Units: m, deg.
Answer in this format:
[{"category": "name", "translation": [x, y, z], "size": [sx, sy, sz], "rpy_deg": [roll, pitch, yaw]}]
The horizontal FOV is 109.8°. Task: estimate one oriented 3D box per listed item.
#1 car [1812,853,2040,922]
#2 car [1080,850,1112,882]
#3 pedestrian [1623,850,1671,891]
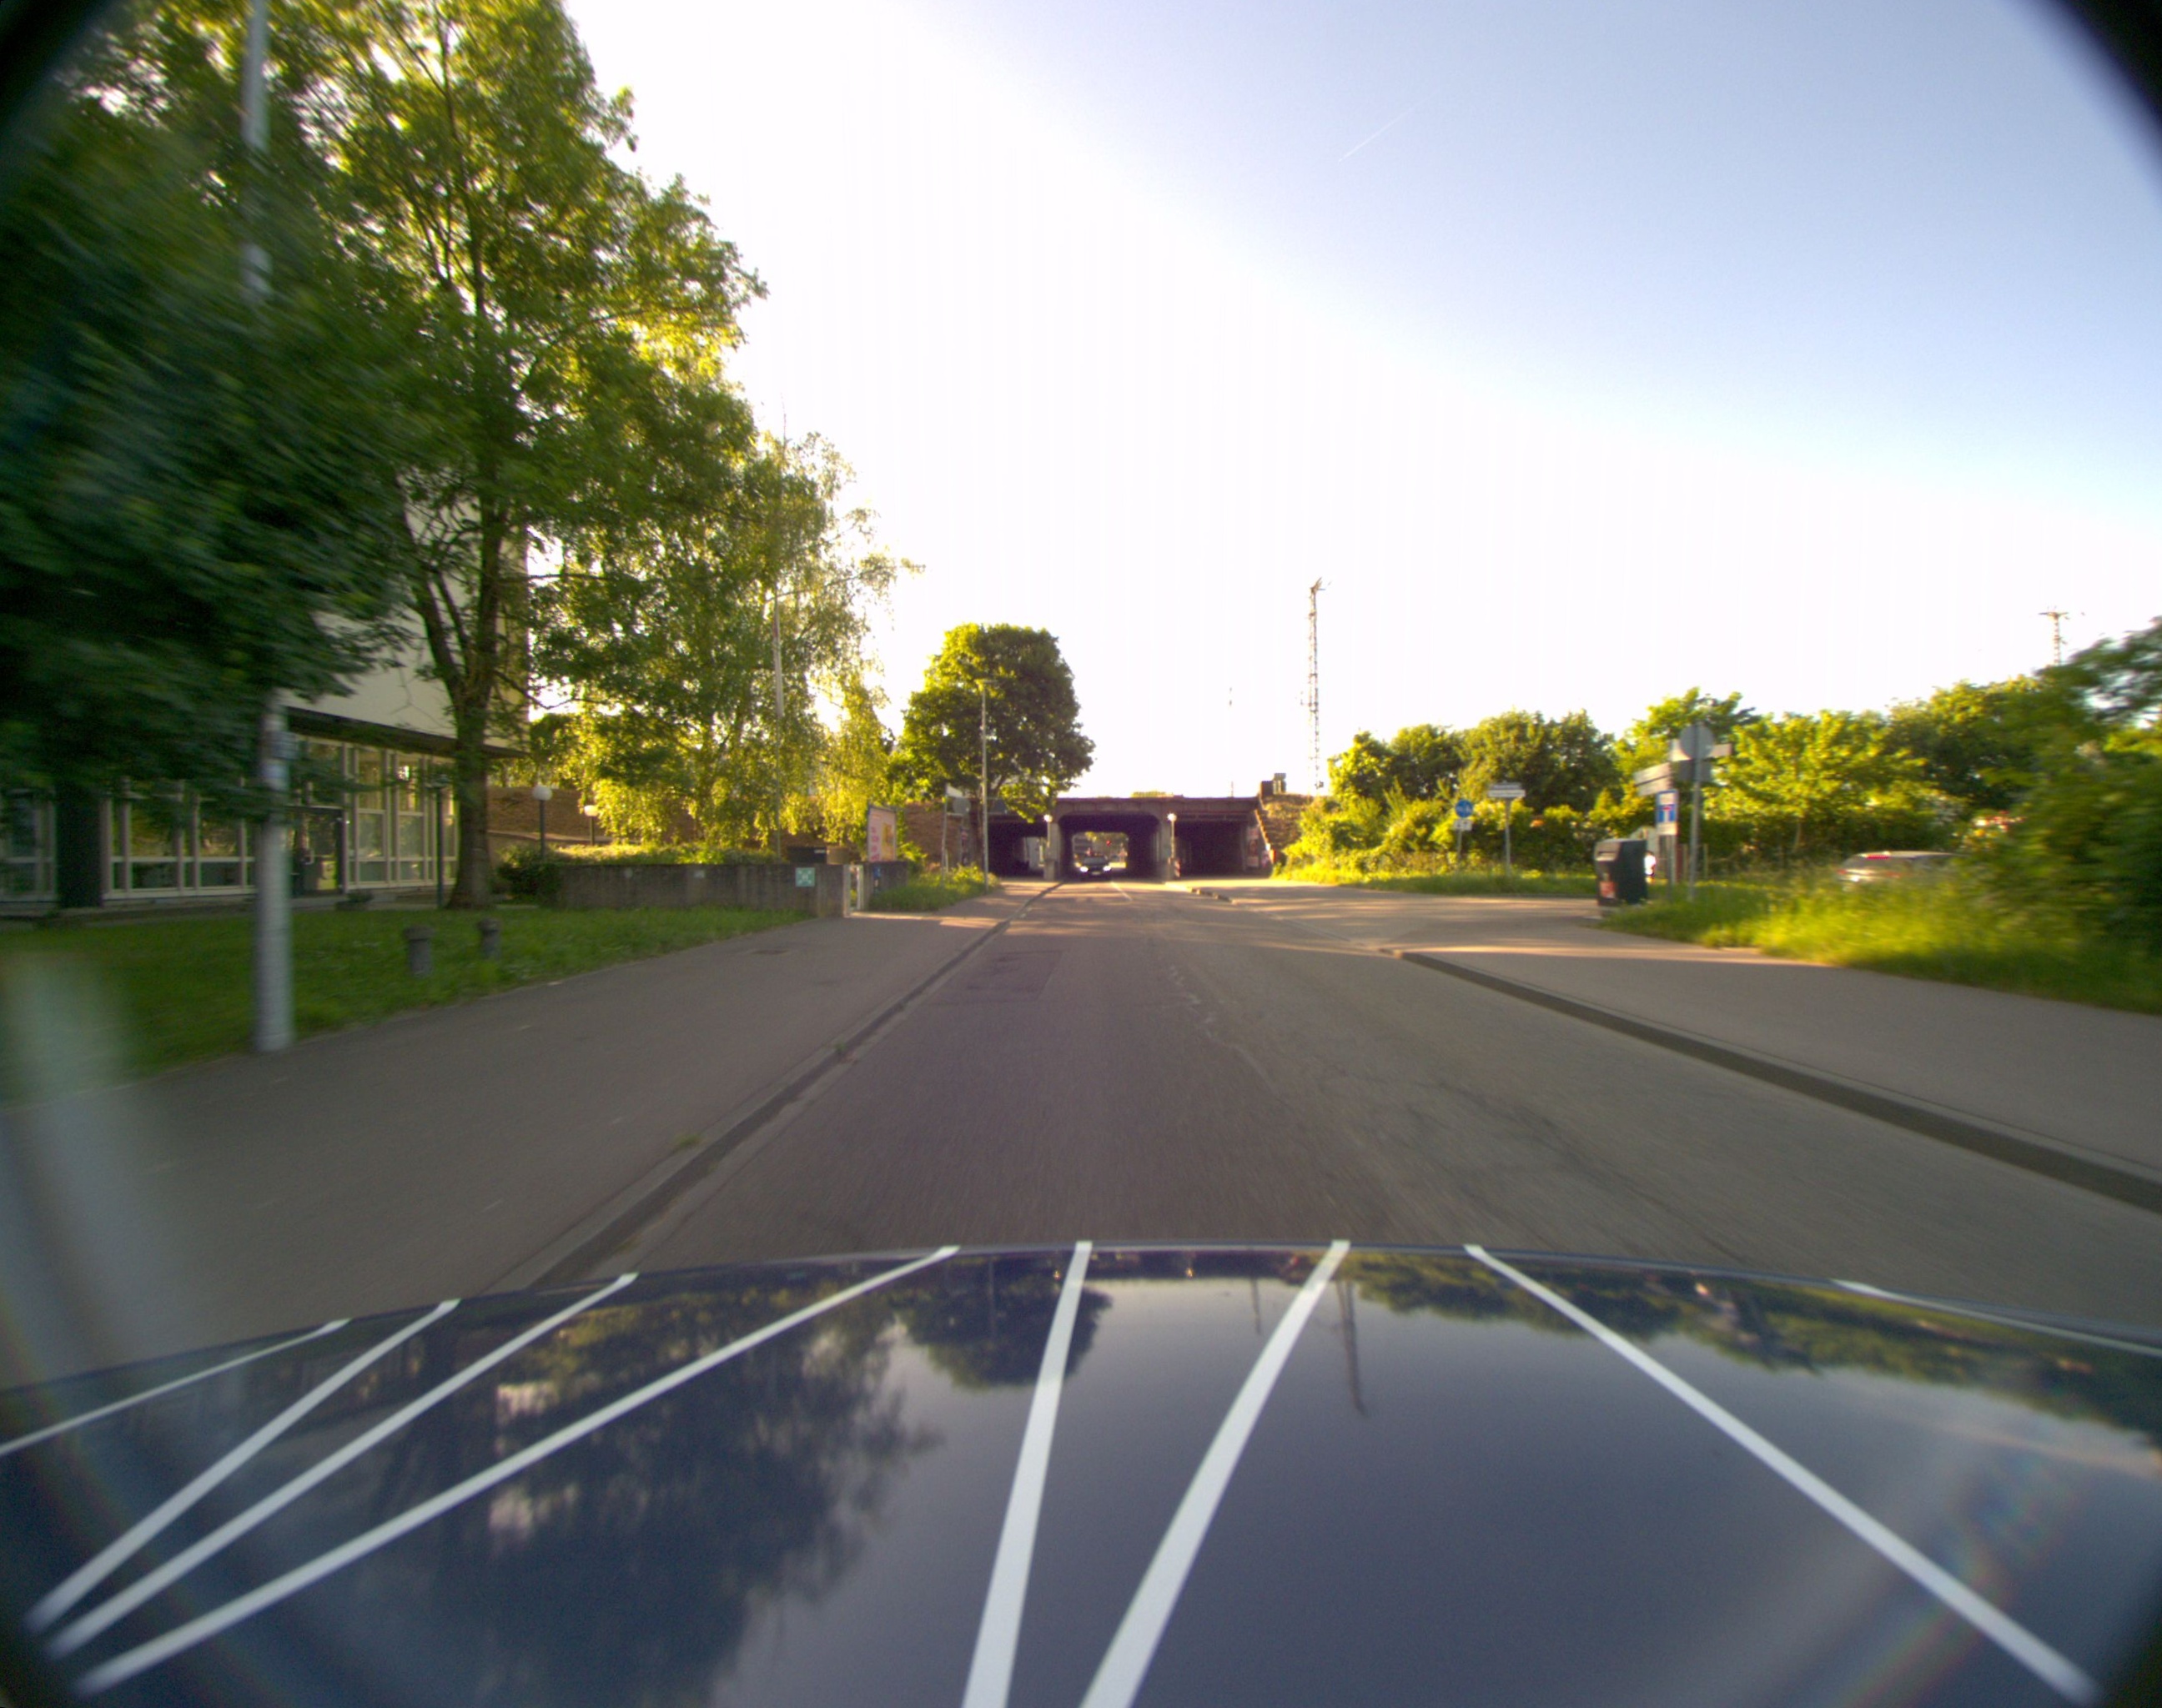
[{"category": "car", "translation": [20.453, 0.747, 18.468], "size": [4.038, 1.440, 1.886], "rpy_deg": [-1, 2, -12]}, {"category": "car", "translation": [0.993, 0.735, 48.908], "size": [1.940, 1.922, 4.524], "rpy_deg": [1, 0, 2]}, {"category": "pedestrian", "translation": [19.948, 0.577, 26.783], "size": [1.021, 1.396, 0.813], "rpy_deg": [1, 2, -8]}]
